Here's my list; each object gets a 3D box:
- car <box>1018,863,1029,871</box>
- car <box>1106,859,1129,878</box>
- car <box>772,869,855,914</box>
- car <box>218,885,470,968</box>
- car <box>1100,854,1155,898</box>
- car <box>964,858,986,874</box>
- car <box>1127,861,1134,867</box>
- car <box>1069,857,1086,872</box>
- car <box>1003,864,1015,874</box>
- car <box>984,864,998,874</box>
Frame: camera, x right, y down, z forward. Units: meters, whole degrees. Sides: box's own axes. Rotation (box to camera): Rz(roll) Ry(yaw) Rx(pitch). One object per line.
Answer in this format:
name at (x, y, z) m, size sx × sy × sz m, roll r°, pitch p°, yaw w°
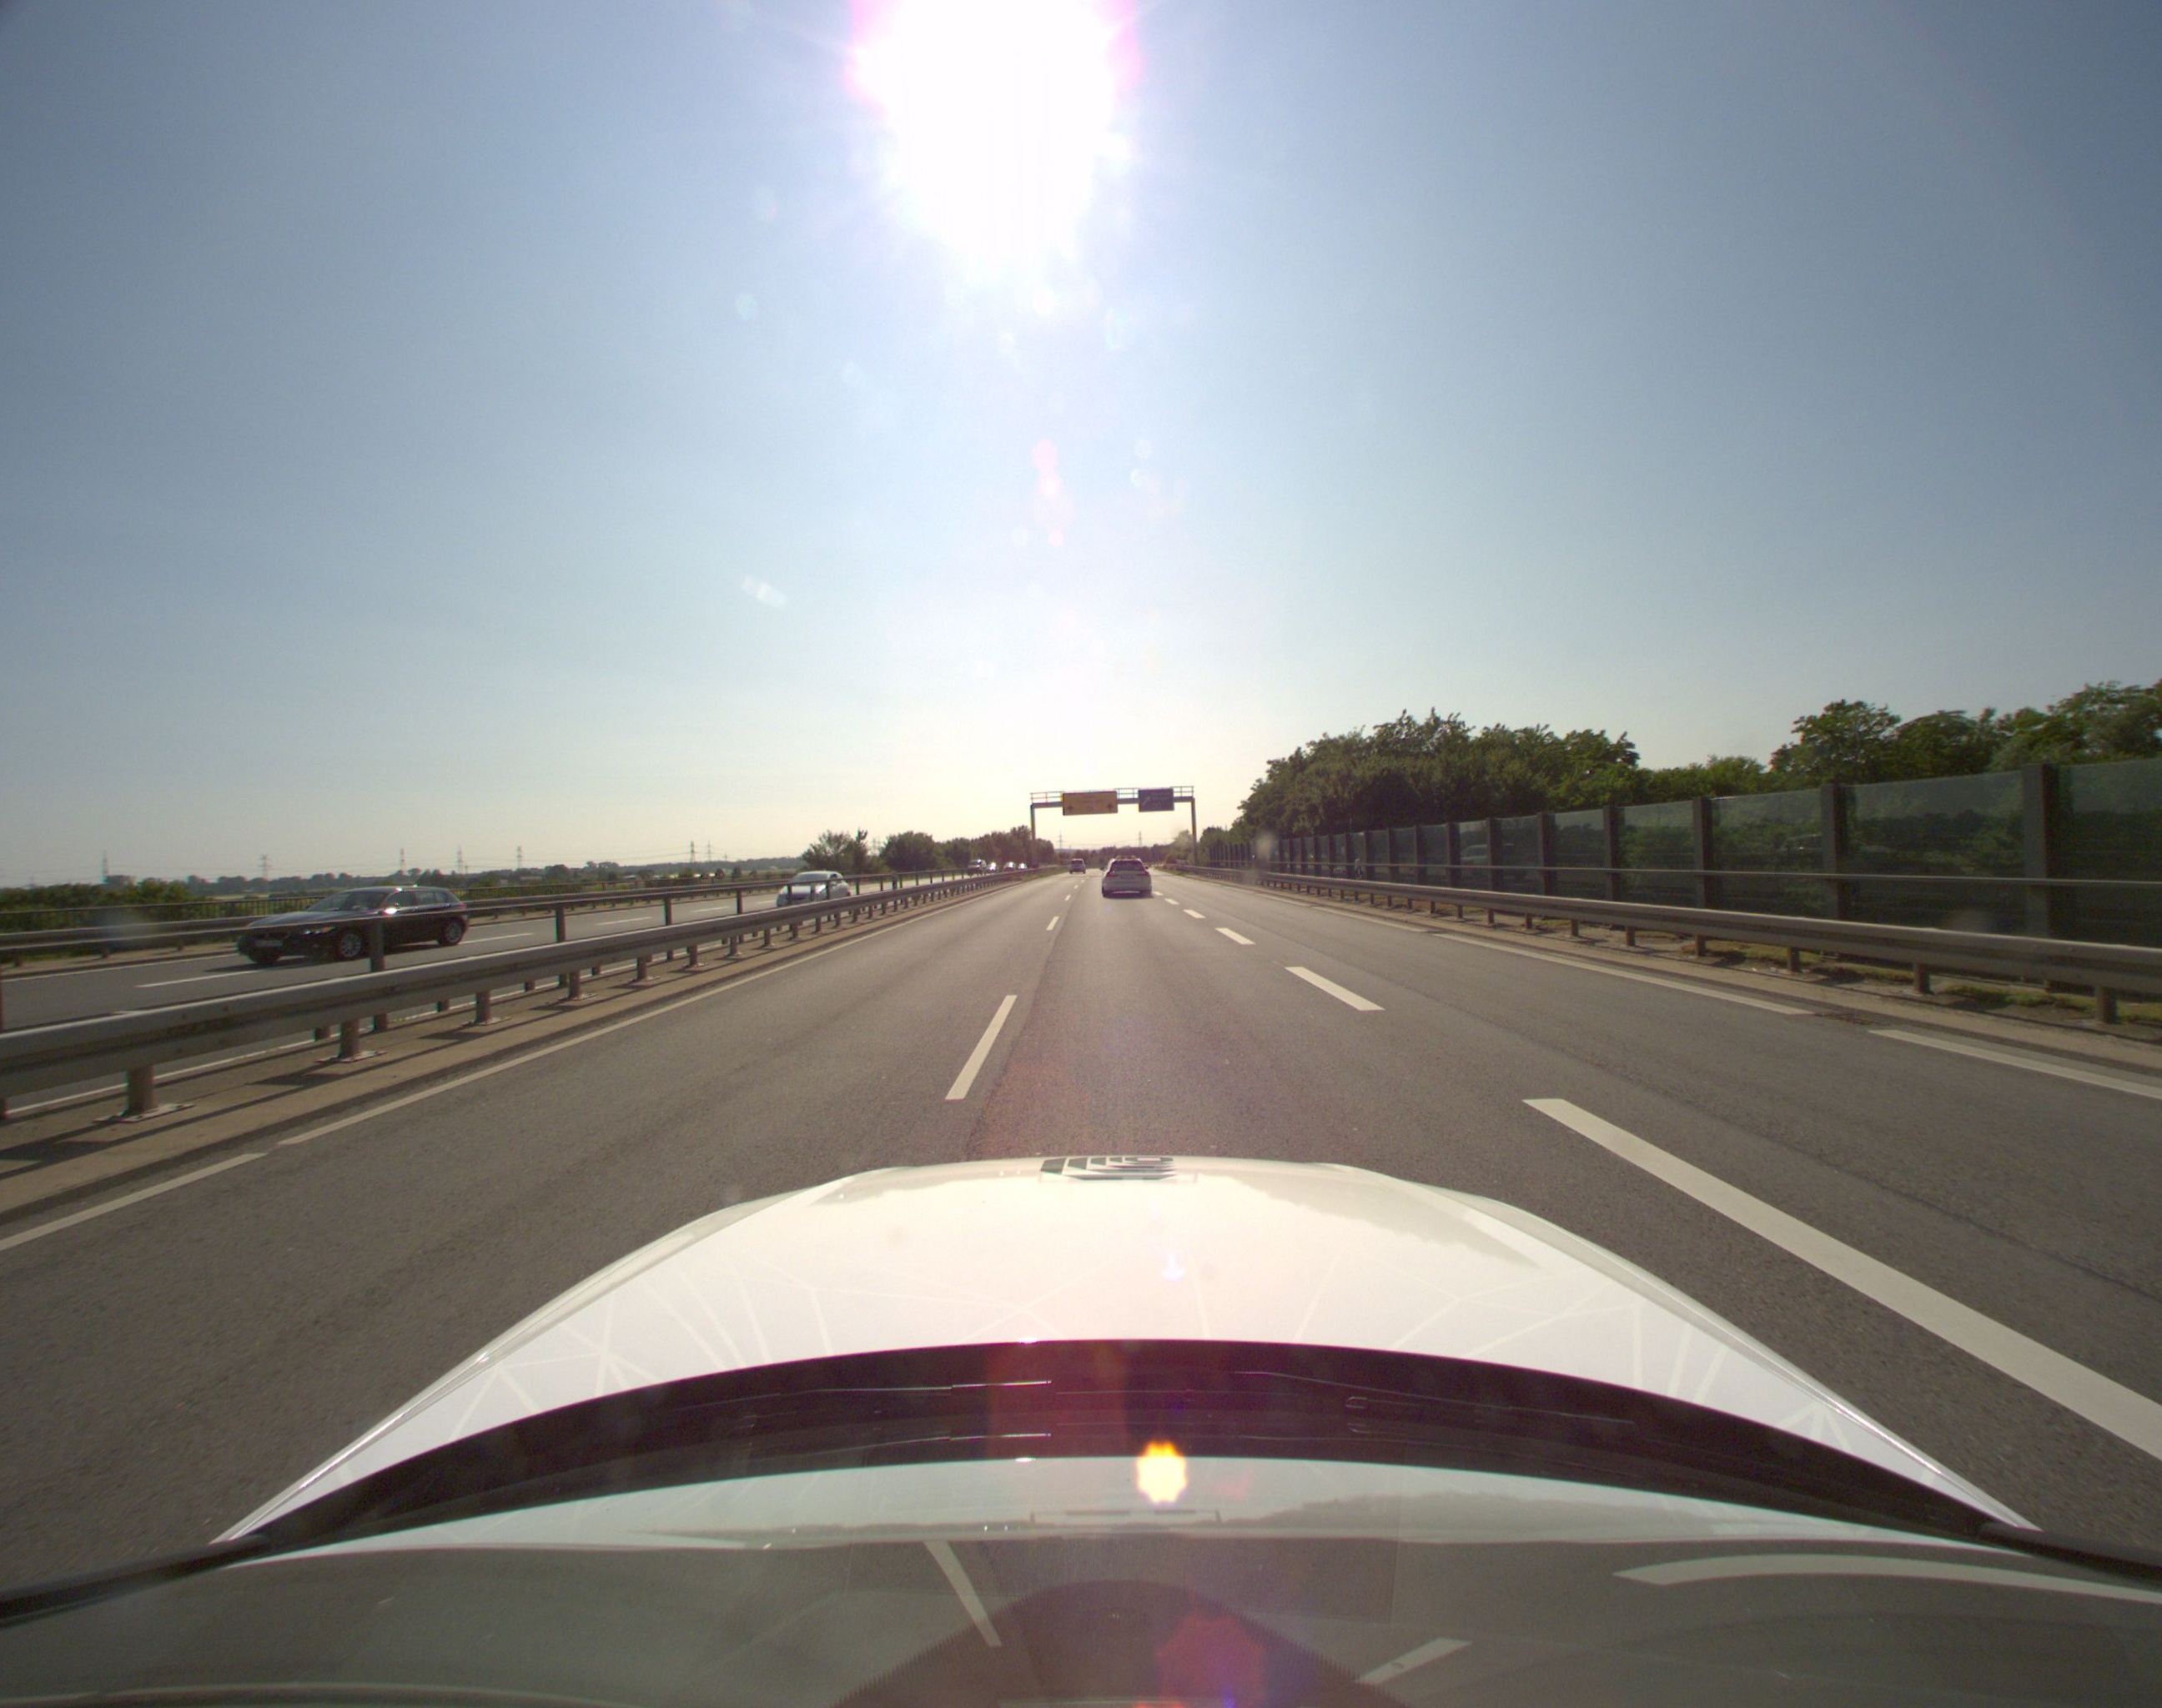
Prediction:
car at (-11.551, 2.604, 163.457) m, size 1.896 × 1.620 × 4.627 m, roll -1°, pitch 0°, yaw -1°
car at (3.098, 1.200, 69.863) m, size 1.787 × 1.543 × 3.671 m, roll -1°, pitch -1°, yaw 0°
car at (-9.477, 1.280, 29.122) m, size 1.545 × 1.417 × 3.672 m, roll -1°, pitch 0°, yaw 4°
car at (-15.503, 1.451, 17.485) m, size 1.774 × 1.384 × 3.999 m, roll -1°, pitch 0°, yaw -1°
car at (1.770, 0.804, 32.351) m, size 1.952 × 1.601 × 4.106 m, roll -1°, pitch 0°, yaw 0°
car at (-13.404, 1.484, 103.448) m, size 1.986 × 1.906 × 4.420 m, roll -2°, pitch 0°, yaw 2°
car at (12.863, 2.585, 211.685) m, size 1.834 × 1.698 × 4.001 m, roll -1°, pitch -1°, yaw 1°
car at (-0.336, 1.142, 86.939) m, size 1.787 × 1.503 × 4.043 m, roll -1°, pitch -1°, yaw 1°
car at (-12.138, 2.463, 137.358) m, size 1.727 × 1.617 × 4.002 m, roll -1°, pitch 0°, yaw 0°
car at (-12.972, 2.159, 117.663) m, size 1.561 × 1.270 × 3.715 m, roll -1°, pitch 0°, yaw 0°
